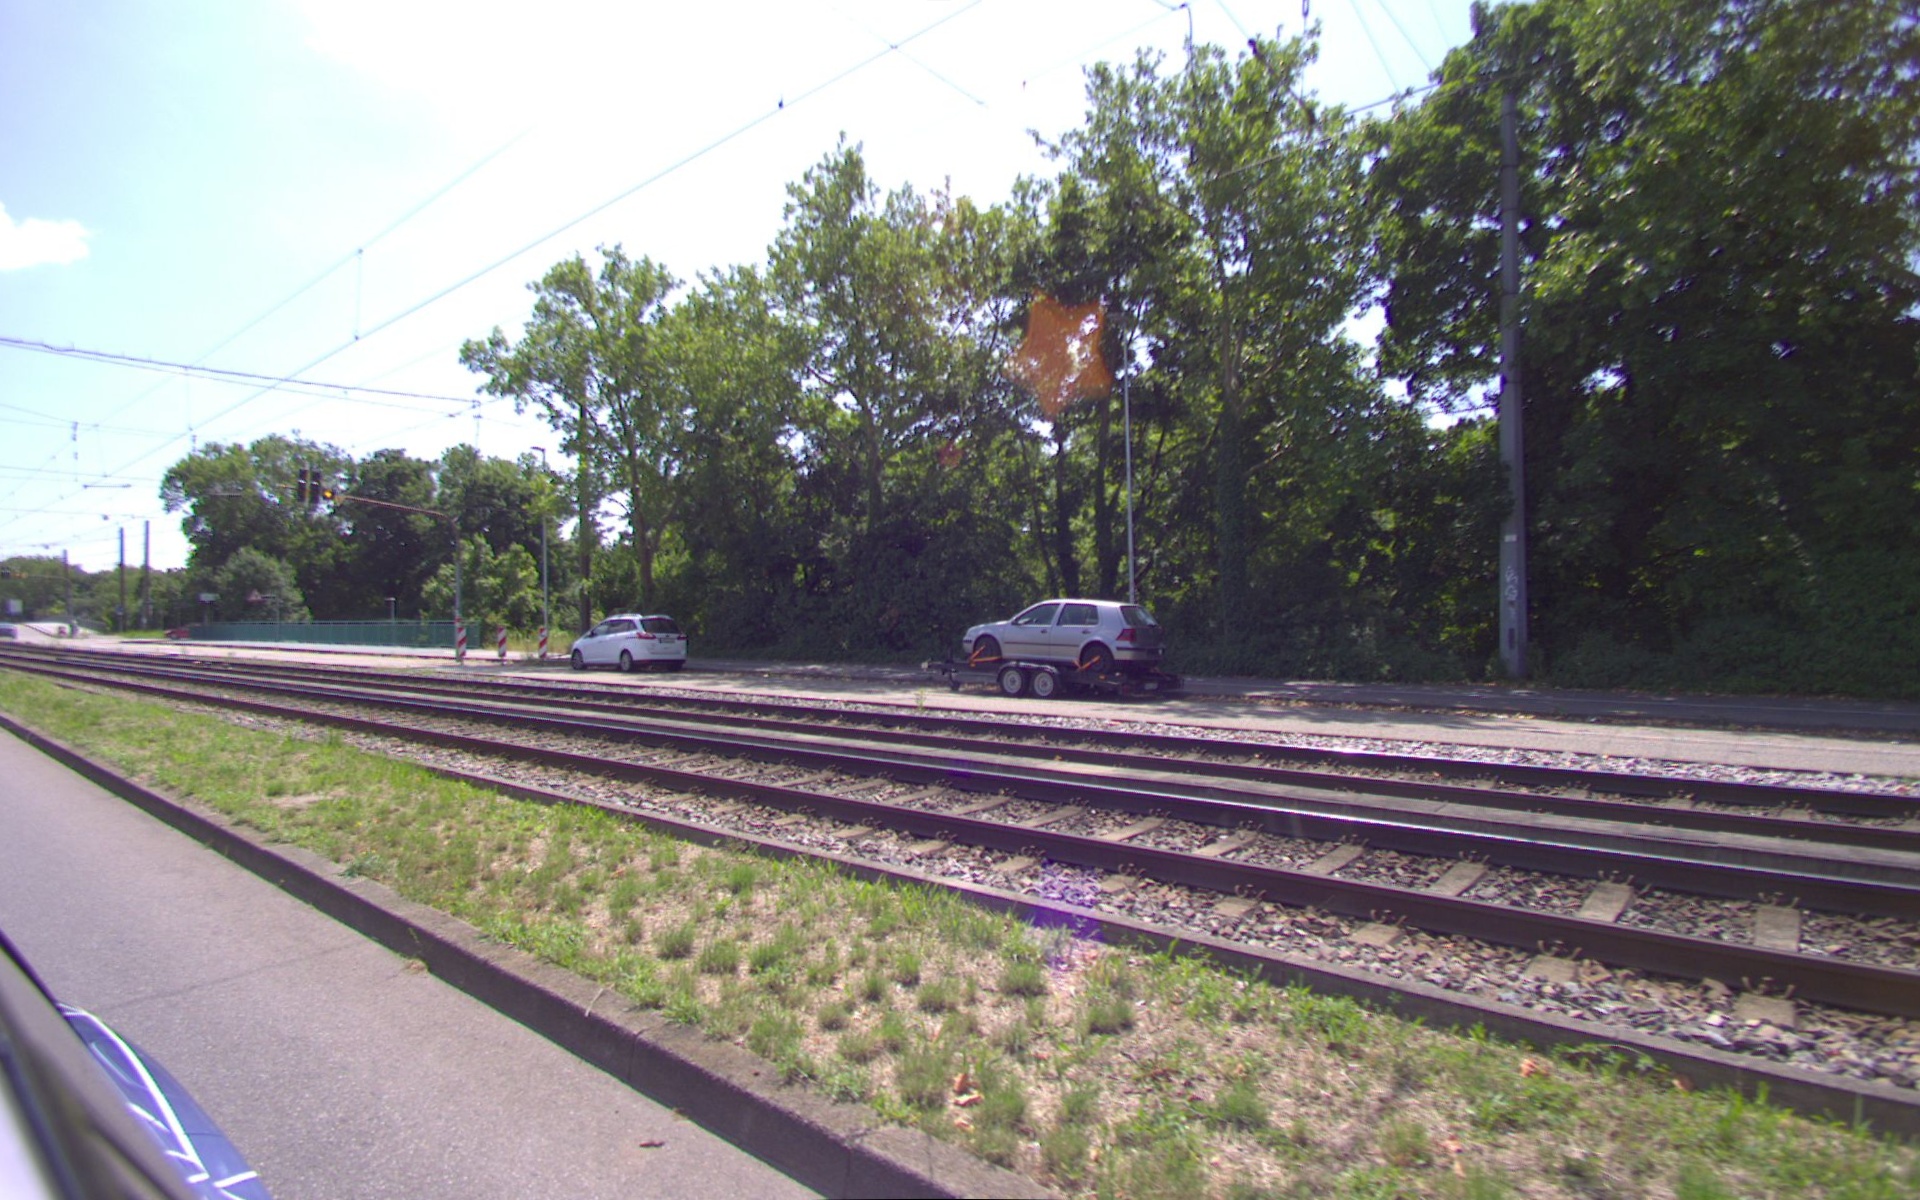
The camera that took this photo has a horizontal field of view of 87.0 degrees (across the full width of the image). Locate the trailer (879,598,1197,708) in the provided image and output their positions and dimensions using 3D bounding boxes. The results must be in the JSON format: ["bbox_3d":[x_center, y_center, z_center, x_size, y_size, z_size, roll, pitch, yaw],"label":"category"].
[{"bbox_3d":[1.432,0.973,20.220,5.952,1.903,2.439,-2,-1,37],"label":"trailer"}]

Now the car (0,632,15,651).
[{"bbox_3d":[-93.153,3.989,98.047,5.327,1.733,1.856,-1,-1,41],"label":"car"}]

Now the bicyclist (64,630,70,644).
[{"bbox_3d":[-92.633,3.821,104.984,0.633,1.485,0.451,-1,-1,44],"label":"bicyclist"}]

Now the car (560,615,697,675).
[{"bbox_3d":[-10.005,1.362,30.373,4.612,1.643,1.702,-3,-2,40],"label":"car"}]
